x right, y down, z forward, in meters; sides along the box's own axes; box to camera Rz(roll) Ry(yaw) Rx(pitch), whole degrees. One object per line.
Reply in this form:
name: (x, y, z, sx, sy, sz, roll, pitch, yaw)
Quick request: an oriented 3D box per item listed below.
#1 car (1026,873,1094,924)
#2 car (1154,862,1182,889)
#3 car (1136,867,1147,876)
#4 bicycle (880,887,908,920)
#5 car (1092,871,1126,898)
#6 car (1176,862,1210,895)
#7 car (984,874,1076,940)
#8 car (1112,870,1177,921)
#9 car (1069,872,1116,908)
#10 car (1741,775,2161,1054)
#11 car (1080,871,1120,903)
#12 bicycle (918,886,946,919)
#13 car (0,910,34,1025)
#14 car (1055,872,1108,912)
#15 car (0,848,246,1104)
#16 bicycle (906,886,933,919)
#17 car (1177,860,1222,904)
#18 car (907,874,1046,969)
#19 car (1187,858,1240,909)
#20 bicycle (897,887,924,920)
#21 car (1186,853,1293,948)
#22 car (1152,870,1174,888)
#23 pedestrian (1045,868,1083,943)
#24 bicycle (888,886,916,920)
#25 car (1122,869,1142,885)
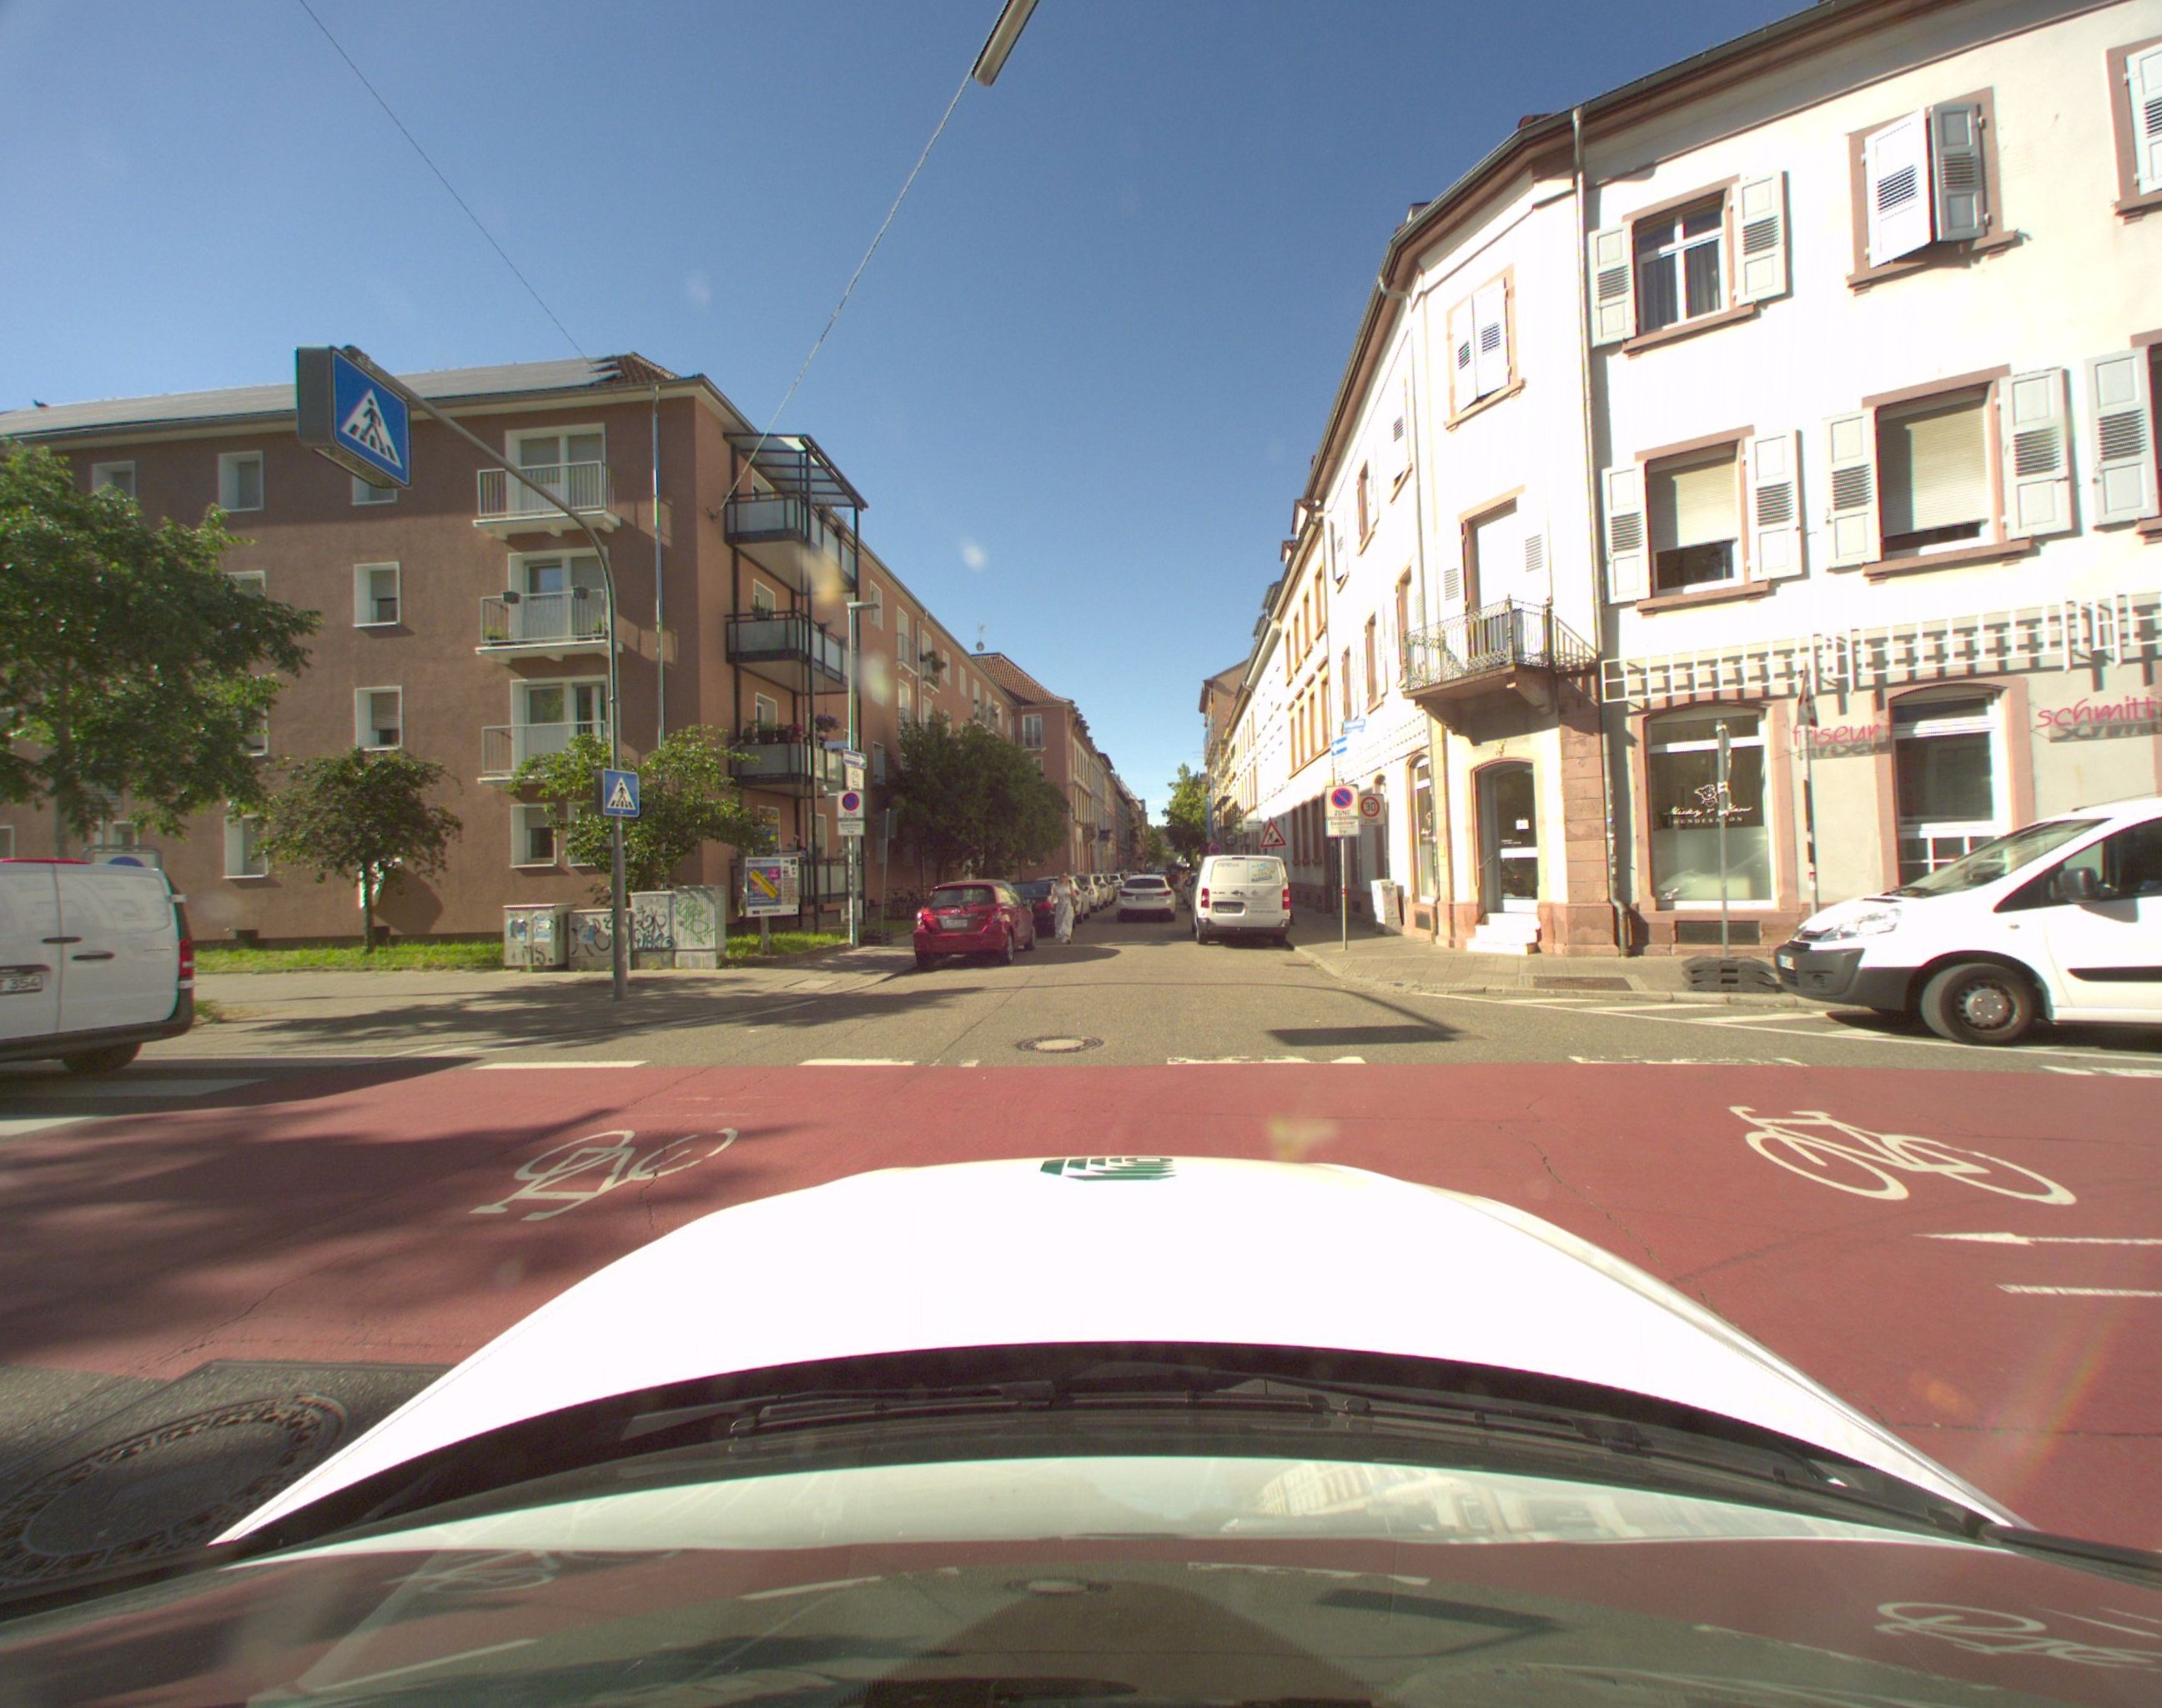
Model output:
car: (-0.617, 1.410, 26.820, 1.644, 1.500, 3.770, -2, -1, 7)
car: (6.444, 1.568, 59.875, 1.884, 1.859, 4.002, -2, -1, 7)
car: (10.666, 3.119, 143.728, 1.644, 1.500, 3.770, -2, -1, 7)
bicycle: (-6.119, 1.615, 26.577, 0.293, 1.035, 1.201, -1, -2, -44)
car: (1.690, 1.755, 47.871, 1.644, 1.500, 3.770, -2, -1, 7)
car: (6.837, 1.478, 49.827, 1.884, 1.859, 4.002, -2, -1, 7)
car: (-1.240, 1.327, 21.551, 1.644, 1.500, 4.087, -2, -1, 7)
car: (2.124, 1.351, 26.283, 1.821, 1.457, 3.969, -2, -3, 7)
car: (0.576, 1.598, 37.274, 1.644, 1.500, 3.770, -2, -1, 7)
car: (8.508, 0.406, 6.328, 4.960, 1.946, 2.064, -2, -1, 31)
car: (1.043, 1.694, 42.456, 1.644, 1.500, 3.770, -2, -1, 7)
bicycle: (-5.005, 1.608, 27.330, 0.255, 1.071, 1.204, -1, -2, -44)
car: (-16.023, 1.537, 10.119, 4.121, 1.454, 1.748, -2, -1, 5)
car: (0.082, 1.503, 33.308, 1.644, 1.500, 3.770, -2, -1, 7)
car: (-10.647, 1.004, 6.956, 5.375, 1.908, 2.113, -2, -1, 8)
bicycle: (-5.408, 1.615, 27.284, 0.255, 1.071, 1.201, -1, -2, -44)
car: (5.461, 1.264, 37.642, 1.884, 1.859, 4.002, -2, -1, 7)
car: (-1.857, 1.190, 15.655, 1.676, 1.500, 3.814, -3, -1, 7)
car: (5.205, 1.140, 32.301, 1.884, 1.859, 4.002, -2, -1, 7)
bicycle: (-5.654, 1.629, 27.040, 0.255, 1.071, 1.201, -1, -2, -44)
car: (3.464, 0.959, 18.664, 1.886, 1.859, 5.020, 0, -1, 5)
car: (7.123, 2.149, 70.757, 1.751, 1.410, 4.336, -2, -1, 7)
pedestrian: (-0.387, 1.142, 18.226, 0.732, 1.614, 0.815, -2, -2, -5)
bicycle: (-5.897, 1.598, 26.811, 0.268, 1.072, 1.201, -1, -2, -44)
car: (4.968, 2.194, 78.790, 1.644, 1.500, 3.770, -2, -1, 7)
